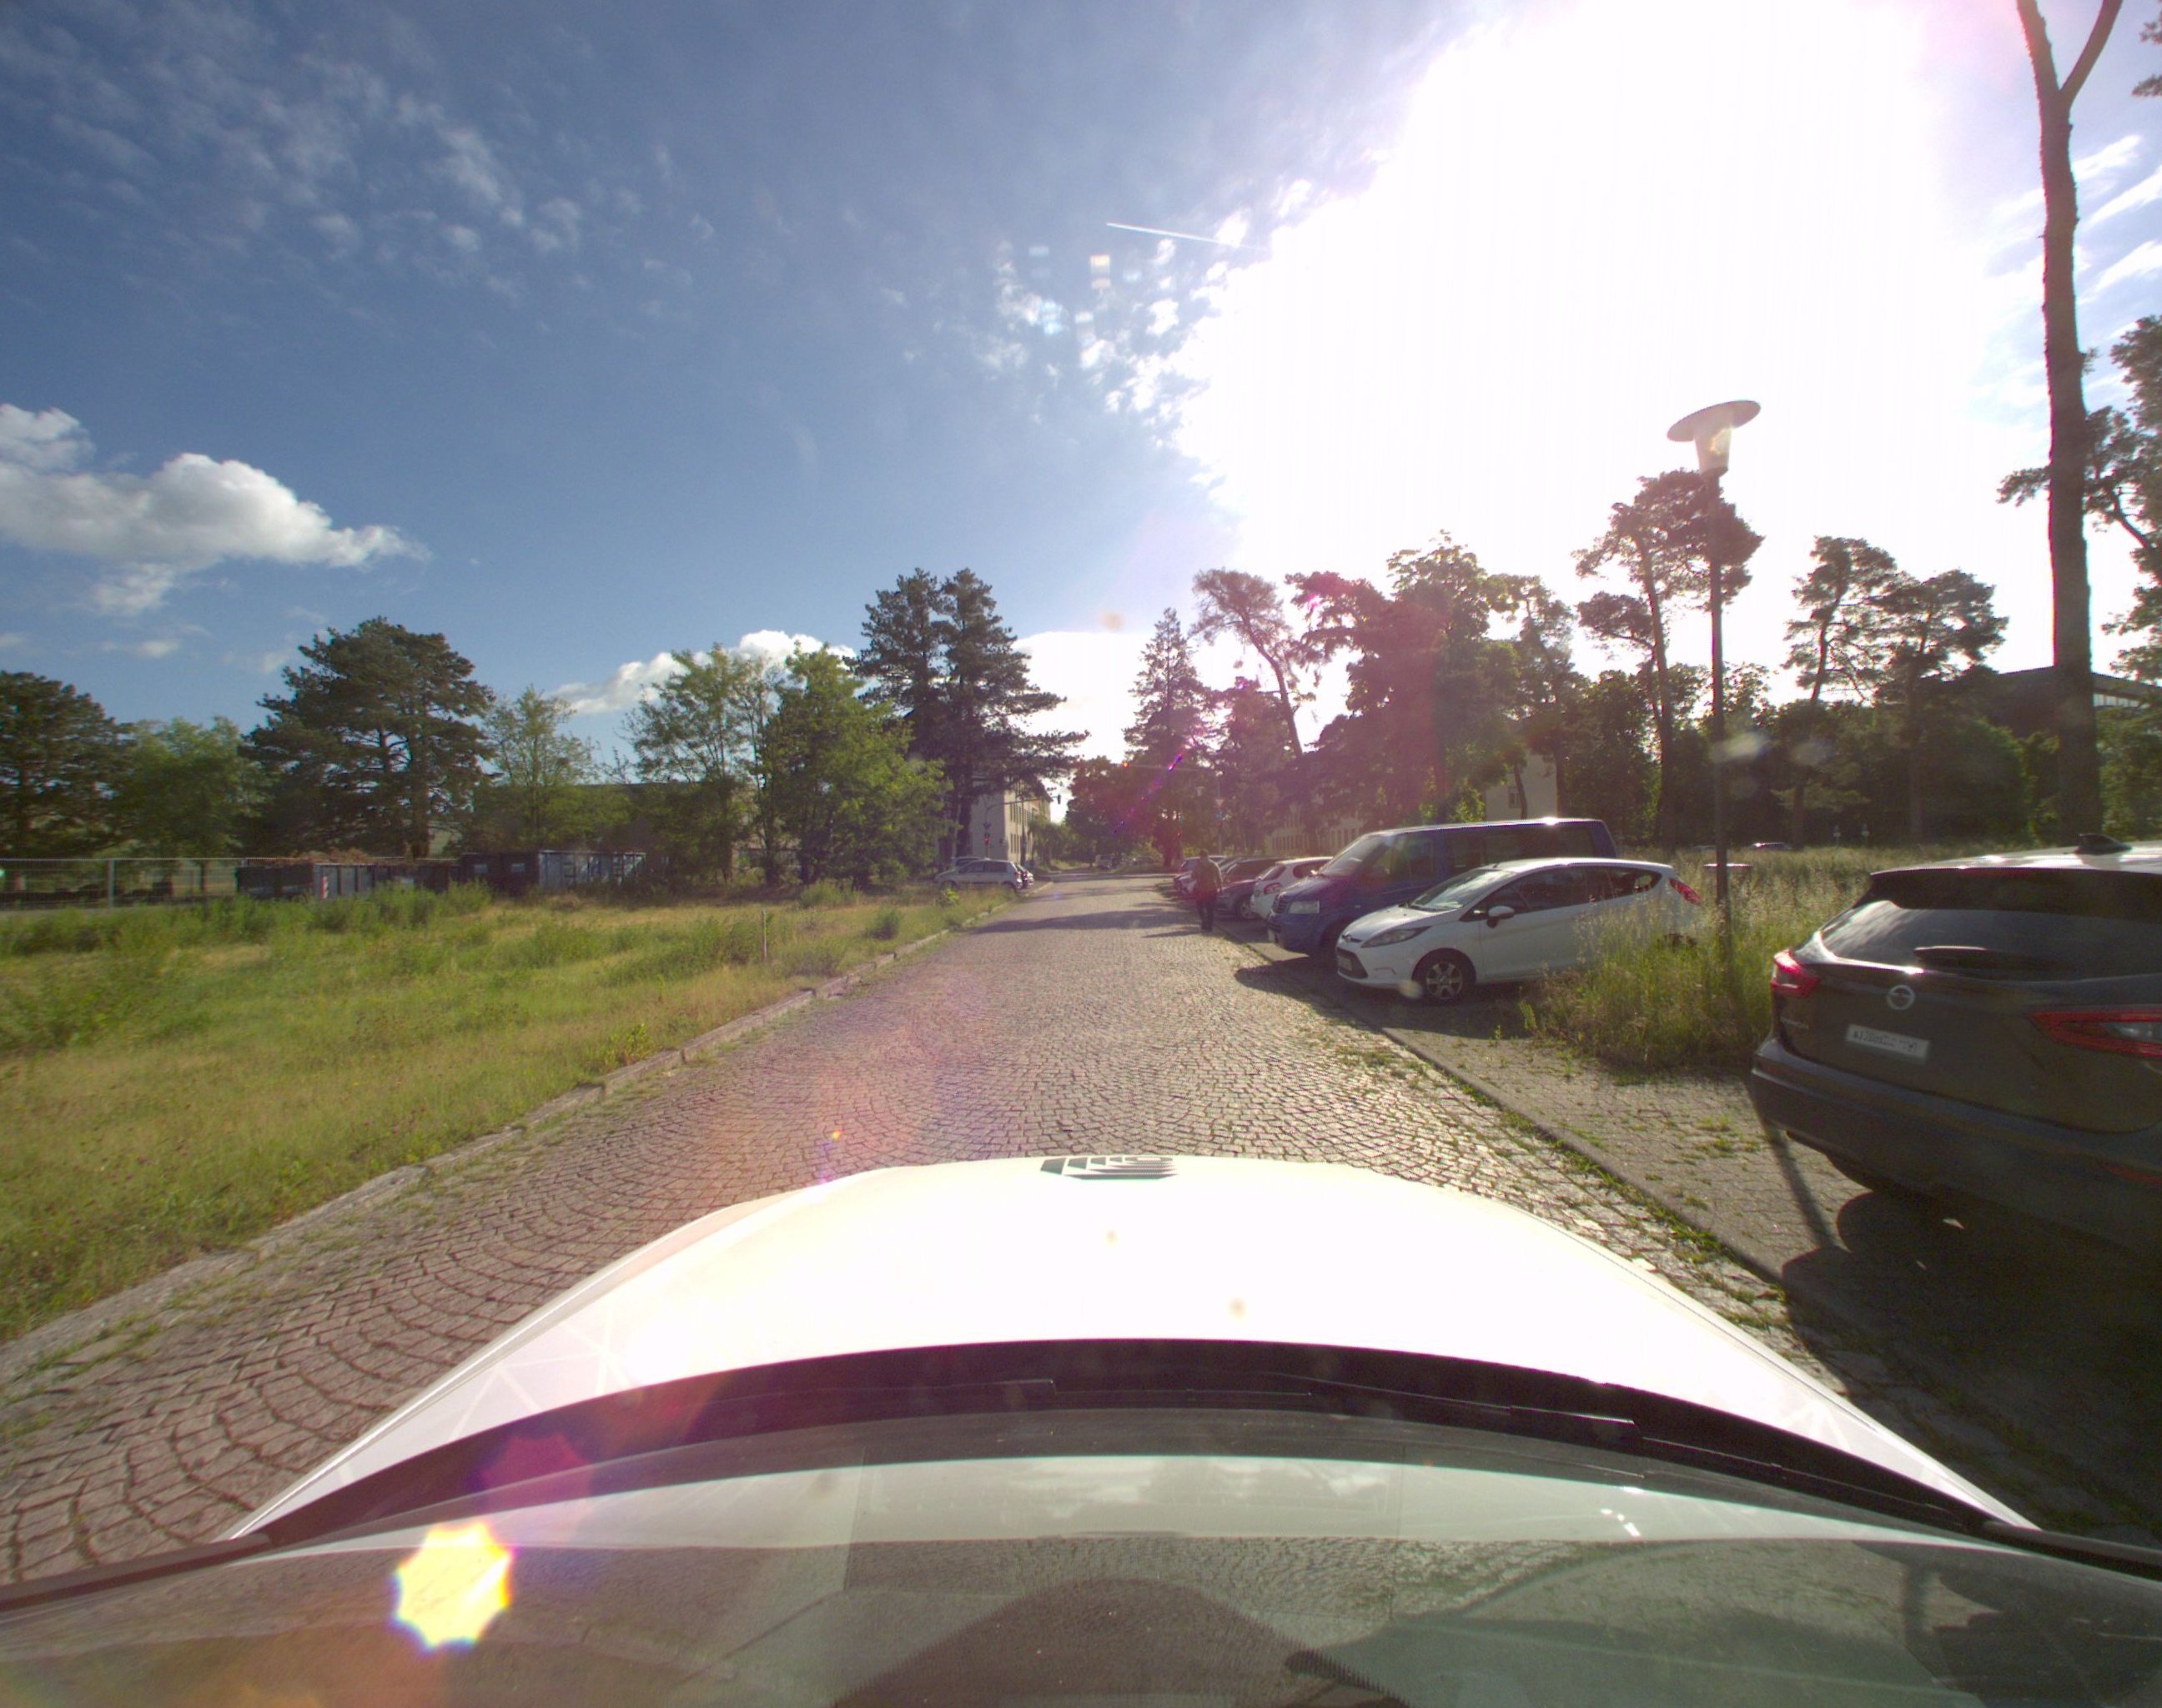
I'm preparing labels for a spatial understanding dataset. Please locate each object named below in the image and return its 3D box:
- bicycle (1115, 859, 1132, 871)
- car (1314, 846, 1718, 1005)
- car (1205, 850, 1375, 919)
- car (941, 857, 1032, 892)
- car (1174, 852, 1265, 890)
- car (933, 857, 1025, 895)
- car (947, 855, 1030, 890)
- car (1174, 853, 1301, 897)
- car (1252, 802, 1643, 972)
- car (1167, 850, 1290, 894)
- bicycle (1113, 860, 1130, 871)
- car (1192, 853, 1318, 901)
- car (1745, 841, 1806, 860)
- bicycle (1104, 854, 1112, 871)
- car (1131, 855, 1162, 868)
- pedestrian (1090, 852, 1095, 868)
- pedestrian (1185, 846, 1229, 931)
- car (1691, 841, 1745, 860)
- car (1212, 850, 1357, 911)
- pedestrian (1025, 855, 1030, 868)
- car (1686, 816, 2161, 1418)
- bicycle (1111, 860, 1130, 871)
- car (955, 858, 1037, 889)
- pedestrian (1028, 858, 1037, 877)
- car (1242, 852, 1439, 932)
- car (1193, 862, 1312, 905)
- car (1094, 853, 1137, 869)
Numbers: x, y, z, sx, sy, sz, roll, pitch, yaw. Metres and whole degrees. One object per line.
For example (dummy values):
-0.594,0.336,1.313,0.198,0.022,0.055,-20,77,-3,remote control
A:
4.441,1.133,85.773,1.723,1.164,0.560,-1,-1,-2,bicycle
4.773,0.744,9.293,3.709,1.467,1.609,-3,0,-1,car
5.056,0.723,20.097,3.765,1.450,1.759,-3,0,3,car
-4.301,0.944,37.580,3.924,1.445,1.691,2,0,0,car
6.008,0.730,35.540,3.660,1.443,1.666,-3,0,1,car
-4.318,0.941,34.917,3.674,1.527,1.698,1,0,-1,car
-4.515,0.899,40.225,3.867,1.615,1.660,1,0,0,car
5.764,0.758,30.362,4.384,1.388,1.789,-3,0,0,car
5.107,0.447,11.917,4.736,2.013,2.001,-3,0,2,car
5.917,0.716,33.003,4.606,1.455,1.869,-4,0,-1,car
4.185,1.171,85.096,1.723,1.112,0.484,-1,-1,-2,bicycle
5.899,0.778,27.939,3.965,1.448,1.656,-2,0,1,car
58.984,-0.275,69.230,3.619,1.498,1.769,-1,0,4,car
2.646,0.840,81.328,0.750,1.580,2.537,-1,0,1,bicycle
8.544,0.939,106.296,3.738,1.580,1.738,-1,0,-6,car
1.415,0.726,100.369,0.592,2.014,0.573,-1,0,2,pedestrian
2.680,0.716,17.396,0.750,1.725,0.829,3,0,1,pedestrian
59.967,-0.332,76.743,3.619,1.671,1.769,-1,0,4,car
5.686,0.717,23.012,3.649,1.455,1.667,-3,0,1,car
-6.513,0.923,98.713,0.606,1.560,0.544,-2,0,-5,pedestrian
4.920,0.642,2.966,4.094,1.611,1.786,-2,0,0,car
4.099,1.170,84.553,1.829,1.112,0.495,-1,-1,-2,bicycle
-4.436,1.012,42.978,3.967,1.496,1.776,1,0,6,car
-4.368,1.218,73.378,0.608,1.752,0.626,-1,0,-18,pedestrian
5.359,0.766,17.156,3.631,1.492,1.635,-2,0,2,car
5.326,0.904,25.559,3.447,1.242,1.537,-1,0,2,car
4.326,0.867,102.449,5.063,1.918,1.995,-1,0,-8,car
